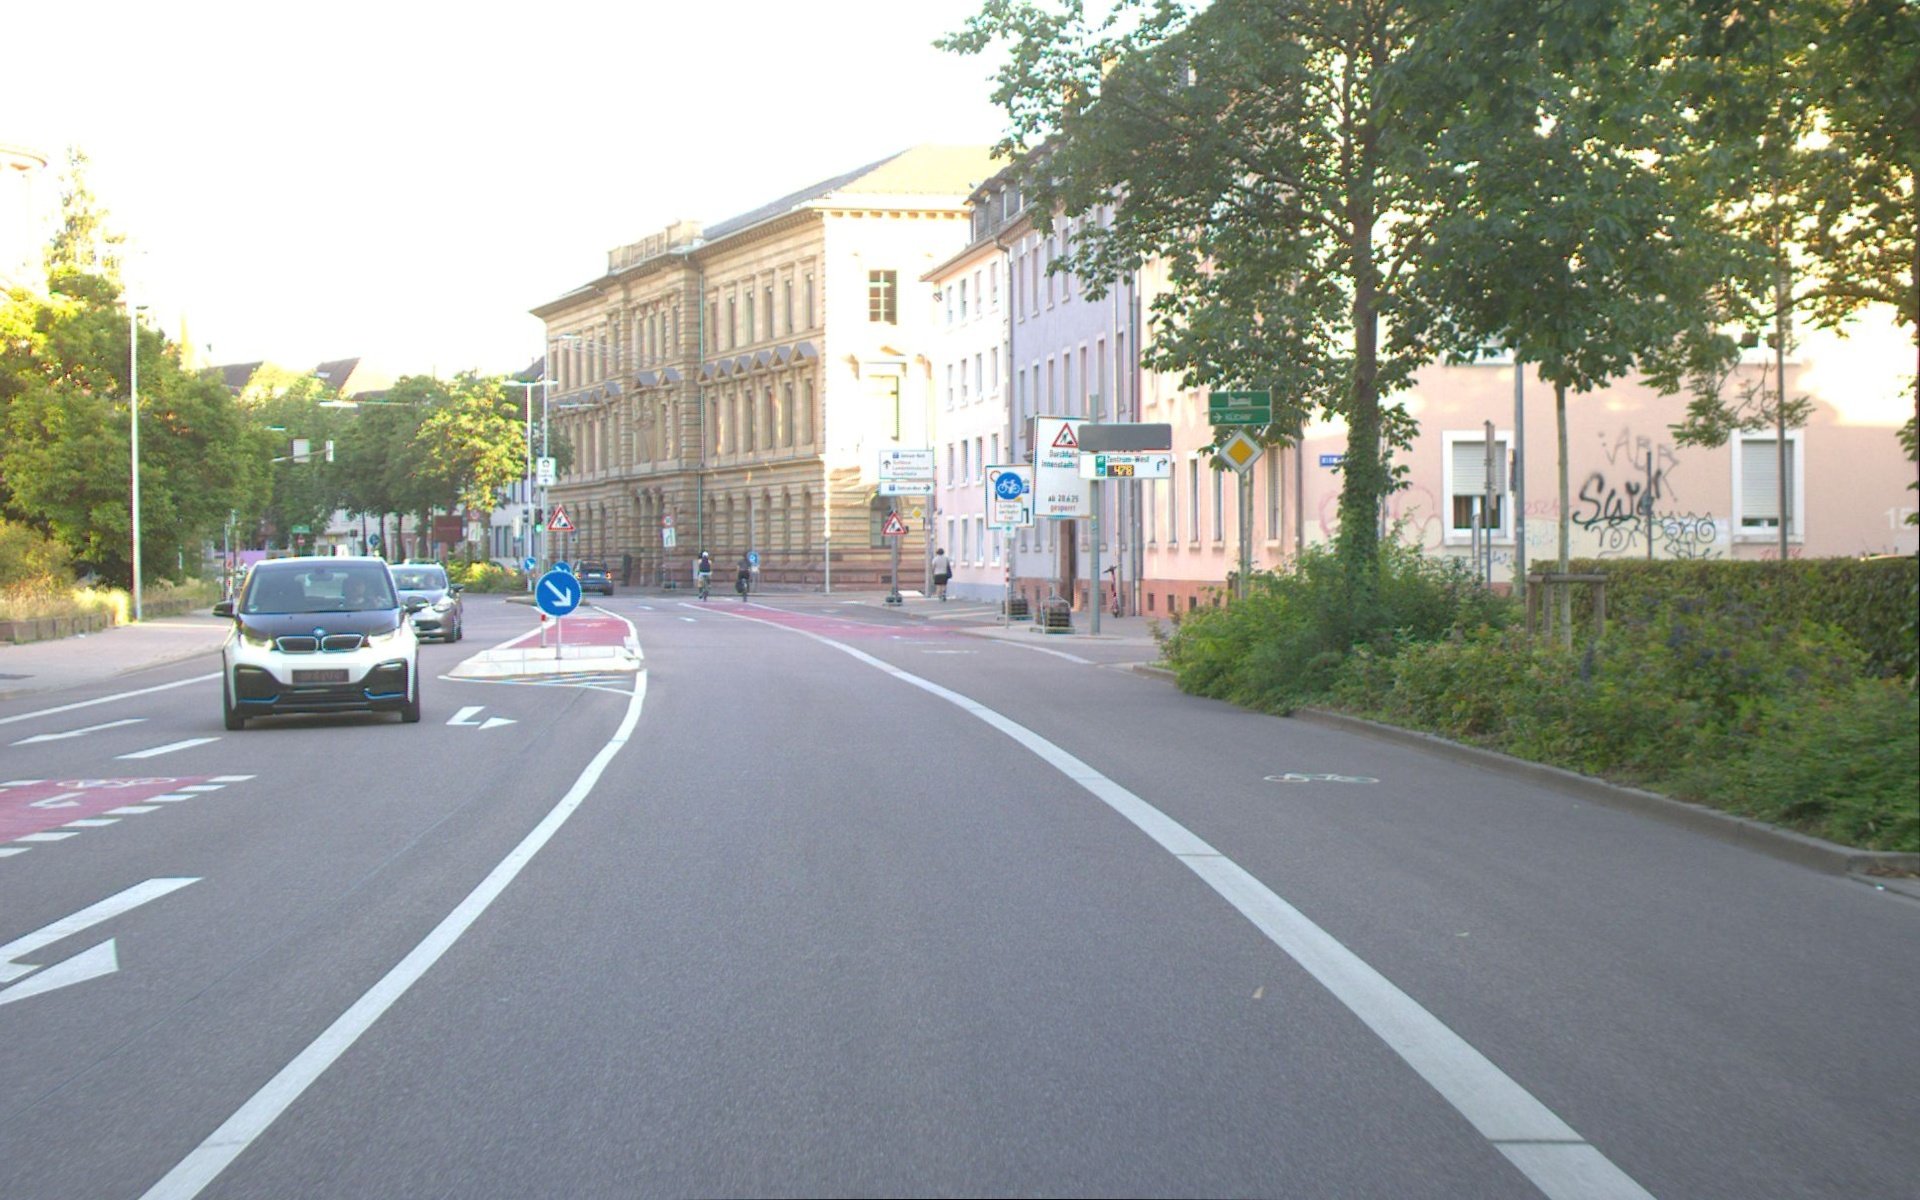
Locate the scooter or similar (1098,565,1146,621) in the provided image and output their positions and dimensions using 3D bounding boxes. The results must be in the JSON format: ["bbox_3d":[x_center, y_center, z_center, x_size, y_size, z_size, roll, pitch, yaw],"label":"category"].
[{"bbox_3d":[3.891,-0.172,82.739,0.629,1.332,2.401,0,1,-10],"label":"scooter or similar"}]

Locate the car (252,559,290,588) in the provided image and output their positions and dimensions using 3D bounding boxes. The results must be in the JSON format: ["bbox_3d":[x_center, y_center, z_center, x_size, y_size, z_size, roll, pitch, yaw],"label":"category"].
[{"bbox_3d":[-38.231,-1.474,190.640,1.993,1.579,4.001,0,1,-12],"label":"car"}]

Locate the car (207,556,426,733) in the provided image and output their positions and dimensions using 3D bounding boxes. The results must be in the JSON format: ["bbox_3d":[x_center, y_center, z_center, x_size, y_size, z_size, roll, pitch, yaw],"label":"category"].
[{"bbox_3d":[-6.058,0.367,32.741,1.848,1.521,4.001,-2,1,-8],"label":"car"}]

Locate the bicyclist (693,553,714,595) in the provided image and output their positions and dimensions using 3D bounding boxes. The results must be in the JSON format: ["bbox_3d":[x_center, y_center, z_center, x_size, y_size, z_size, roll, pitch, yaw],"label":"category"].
[{"bbox_3d":[-8.822,-0.896,118.285,0.652,1.441,0.879,2,1,-4],"label":"bicyclist"}]

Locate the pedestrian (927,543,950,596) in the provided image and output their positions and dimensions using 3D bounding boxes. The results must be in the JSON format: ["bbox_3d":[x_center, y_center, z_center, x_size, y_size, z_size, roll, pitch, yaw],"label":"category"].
[{"bbox_3d":[-0.703,-1.006,112.712,0.762,1.749,0.845,0,0,1],"label":"pedestrian"}]

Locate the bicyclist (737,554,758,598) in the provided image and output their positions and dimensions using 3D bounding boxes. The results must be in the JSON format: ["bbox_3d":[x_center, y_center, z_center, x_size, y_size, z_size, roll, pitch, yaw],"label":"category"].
[{"bbox_3d":[-7.297,-0.839,118.230,0.652,1.470,0.941,2,1,-4],"label":"bicyclist"}]

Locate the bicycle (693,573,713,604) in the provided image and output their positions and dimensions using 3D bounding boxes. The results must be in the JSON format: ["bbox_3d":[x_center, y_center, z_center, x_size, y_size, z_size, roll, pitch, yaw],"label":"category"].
[{"bbox_3d":[-8.845,-0.412,118.300,0.652,1.012,2.198,2,1,-4],"label":"bicycle"}]

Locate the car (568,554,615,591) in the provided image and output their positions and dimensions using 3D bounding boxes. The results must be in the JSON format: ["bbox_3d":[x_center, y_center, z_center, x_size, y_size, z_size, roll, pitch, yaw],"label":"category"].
[{"bbox_3d":[-15.424,-1.145,143.743,1.867,1.505,4.001,1,0,-7],"label":"car"}]

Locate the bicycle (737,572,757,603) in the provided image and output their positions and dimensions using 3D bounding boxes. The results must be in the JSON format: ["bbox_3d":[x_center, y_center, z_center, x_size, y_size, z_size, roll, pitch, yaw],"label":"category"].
[{"bbox_3d":[-7.321,-0.421,118.230,0.652,1.012,2.198,2,1,-4],"label":"bicycle"}]

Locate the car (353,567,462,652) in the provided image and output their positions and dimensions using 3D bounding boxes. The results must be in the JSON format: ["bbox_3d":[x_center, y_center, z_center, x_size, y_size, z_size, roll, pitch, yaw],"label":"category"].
[{"bbox_3d":[-10.172,0.148,63.130,1.835,1.434,4.001,-2,1,-11],"label":"car"}]
